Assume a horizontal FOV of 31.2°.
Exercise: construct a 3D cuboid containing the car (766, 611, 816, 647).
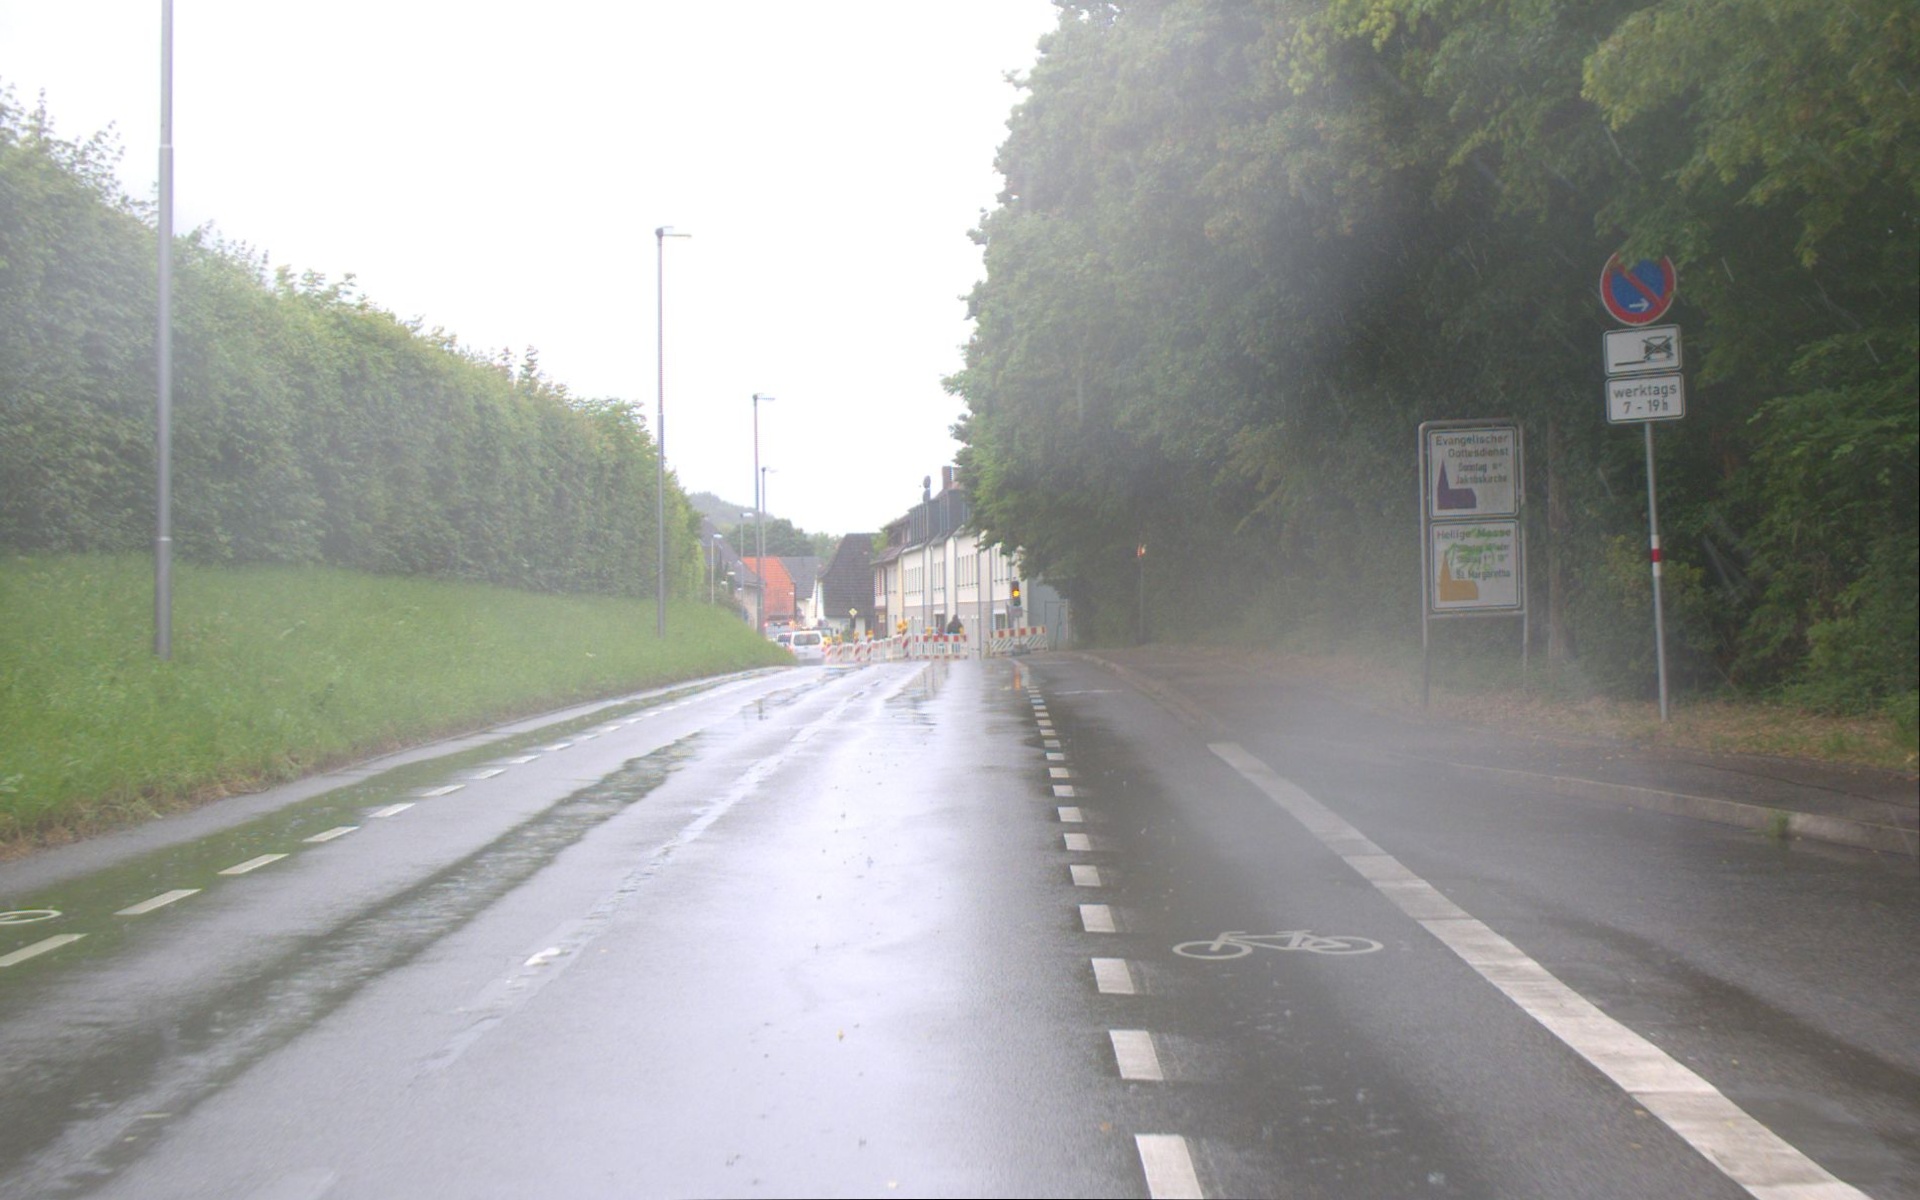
[{"bbox_3d":[-8.267,1.413,167.712,1.993,1.605,4.001,1,1,-9],"label":"car"}]
